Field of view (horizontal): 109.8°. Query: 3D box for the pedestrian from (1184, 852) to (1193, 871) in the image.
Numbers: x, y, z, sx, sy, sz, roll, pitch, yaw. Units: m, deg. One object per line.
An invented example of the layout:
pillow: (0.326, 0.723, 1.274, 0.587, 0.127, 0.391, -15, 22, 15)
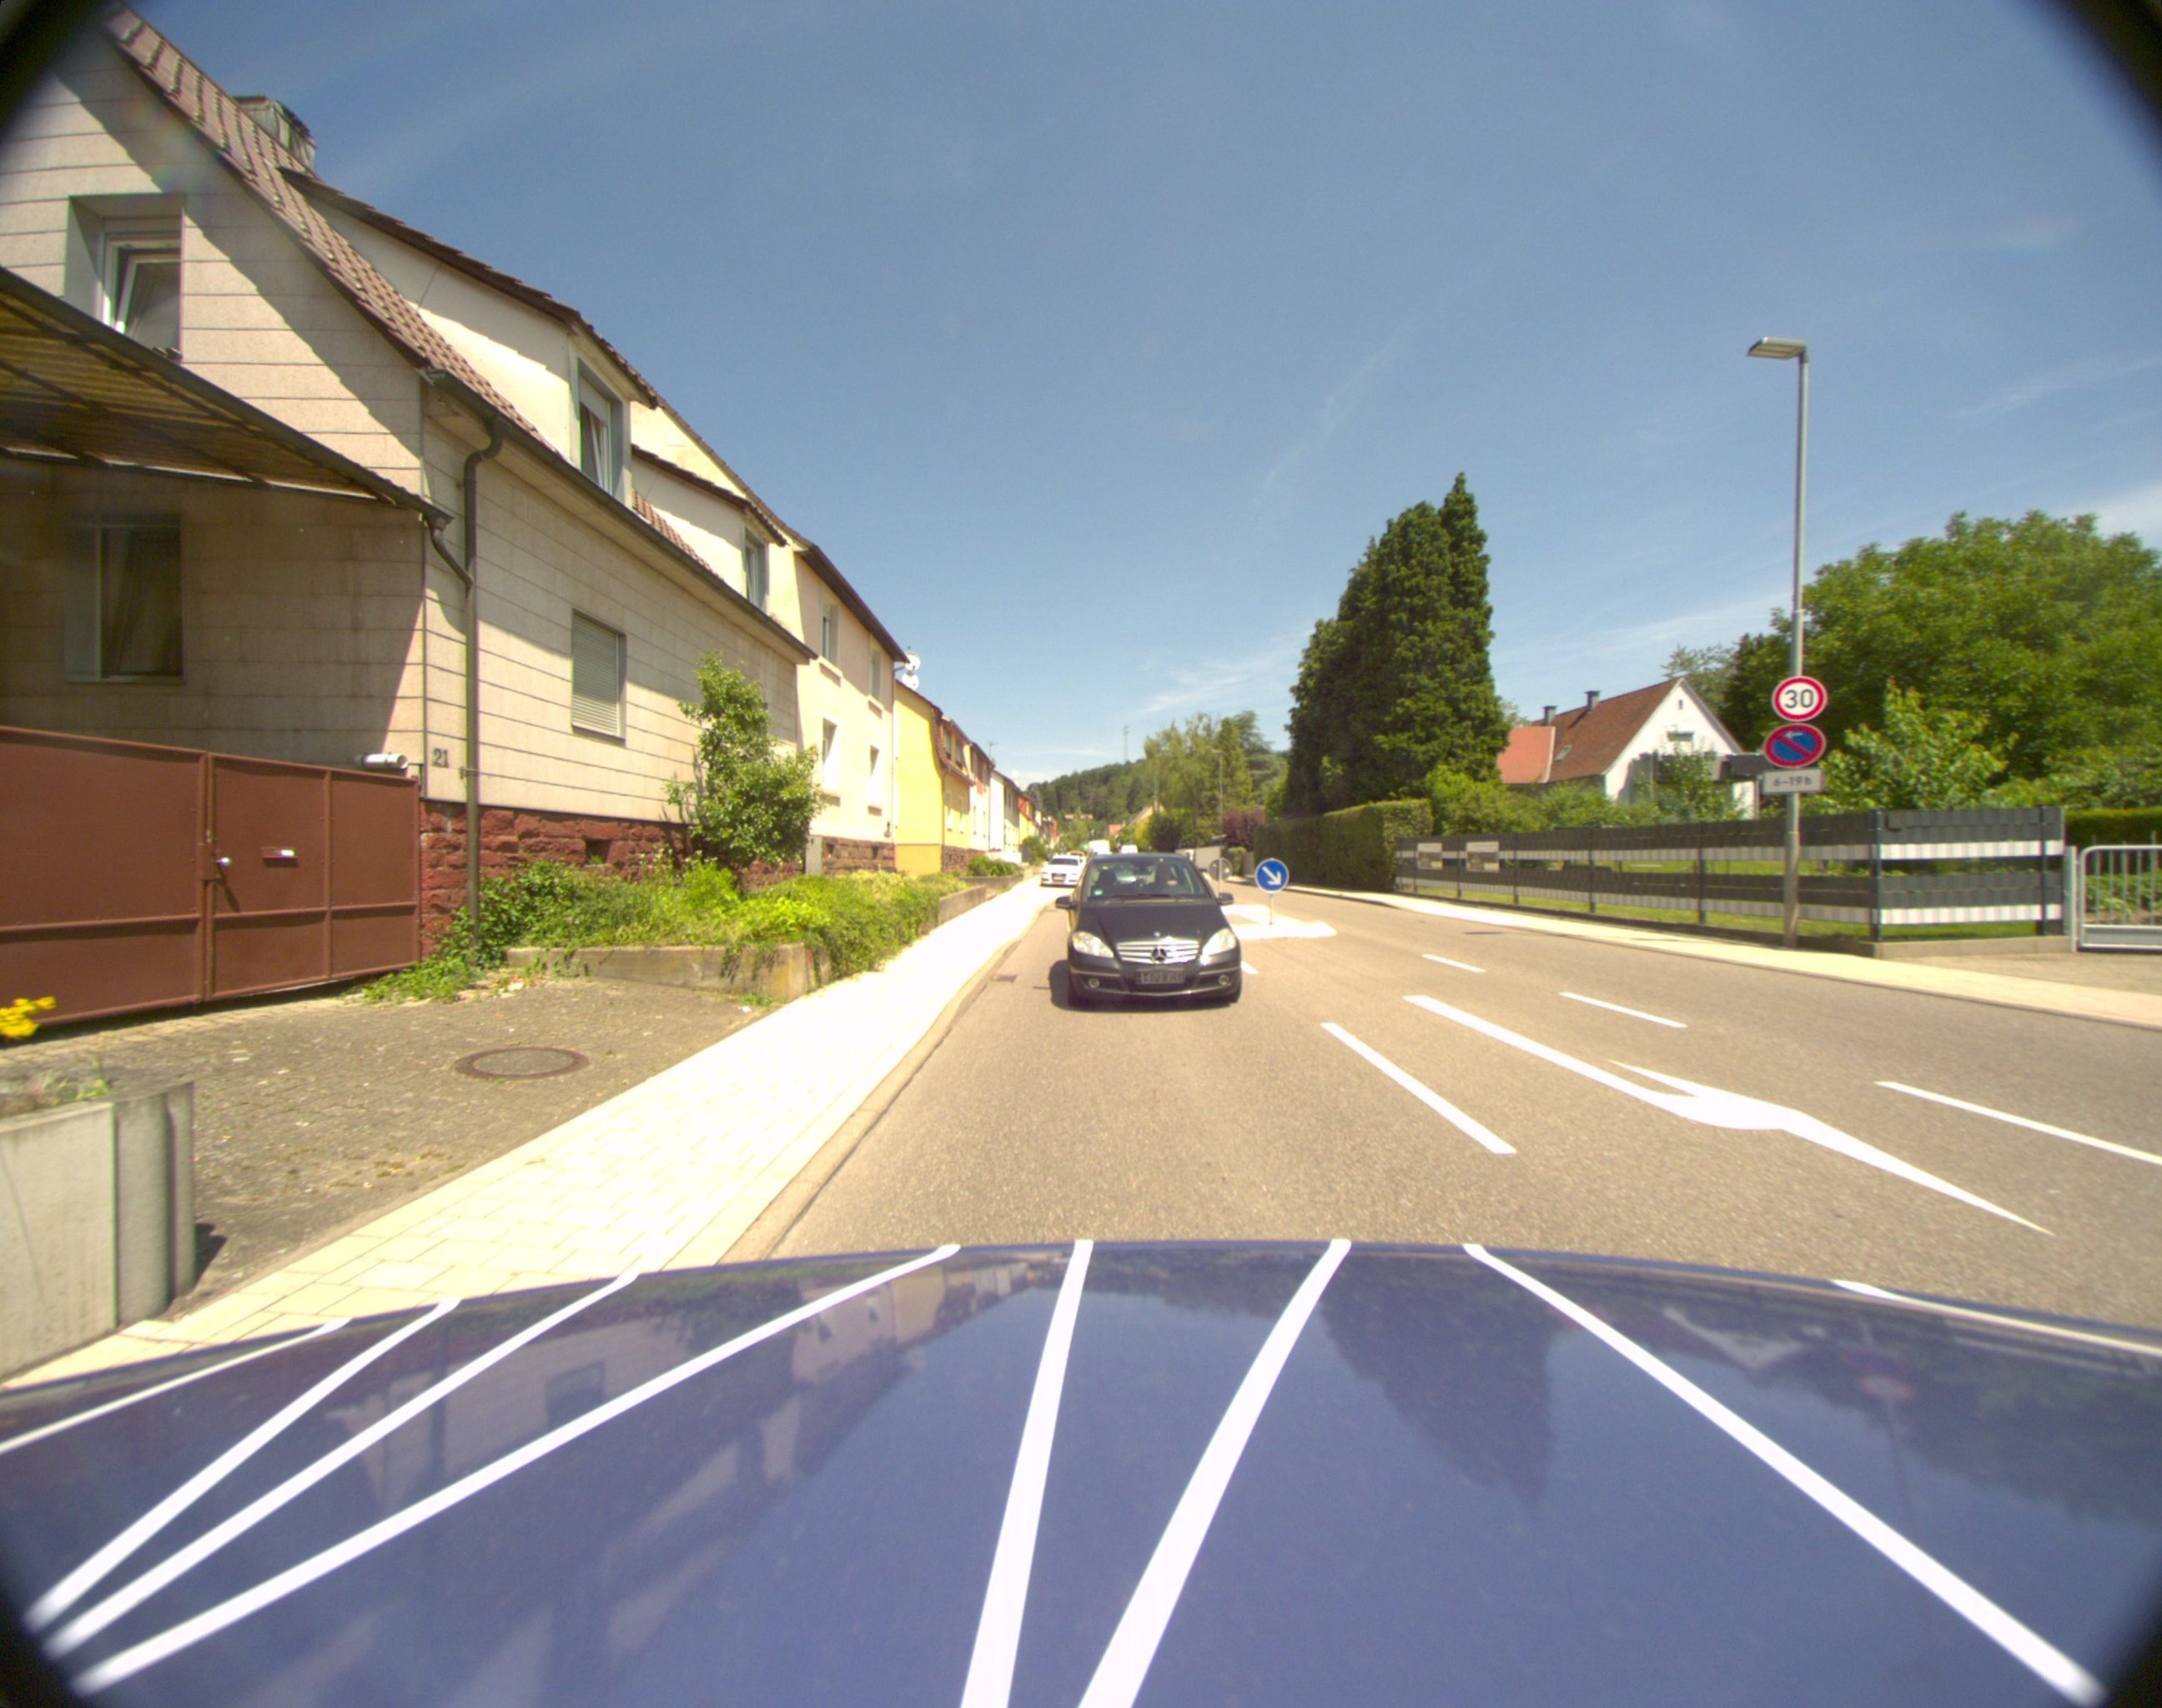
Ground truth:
pedestrian: (8.877, 0.620, 62.770, 0.555, 1.477, 0.483, -2, 1, 0)

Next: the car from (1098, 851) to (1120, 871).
car: (3.034, 0.755, 81.978, 1.999, 2.002, 4.547, -2, 0, -2)

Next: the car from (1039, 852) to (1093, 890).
car: (-0.635, 0.741, 35.163, 1.998, 1.510, 4.145, 4, 1, 5)

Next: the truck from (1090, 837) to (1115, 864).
truck: (2.866, -0.523, 104.018, 3.149, 3.467, 8.271, -1, 0, 1)

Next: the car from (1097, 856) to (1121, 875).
car: (2.268, 0.899, 62.432, 1.864, 1.441, 4.000, -2, 0, 1)

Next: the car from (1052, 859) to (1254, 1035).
car: (0.683, 0.884, 9.189, 1.868, 1.580, 4.156, -1, 0, 0)

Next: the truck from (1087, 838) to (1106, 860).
truck: (2.575, -0.823, 128.838, 3.149, 3.467, 8.272, -1, 0, 1)

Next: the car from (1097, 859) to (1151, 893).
car: (1.816, 0.915, 33.373, 1.910, 1.296, 4.155, -1, 0, -2)
